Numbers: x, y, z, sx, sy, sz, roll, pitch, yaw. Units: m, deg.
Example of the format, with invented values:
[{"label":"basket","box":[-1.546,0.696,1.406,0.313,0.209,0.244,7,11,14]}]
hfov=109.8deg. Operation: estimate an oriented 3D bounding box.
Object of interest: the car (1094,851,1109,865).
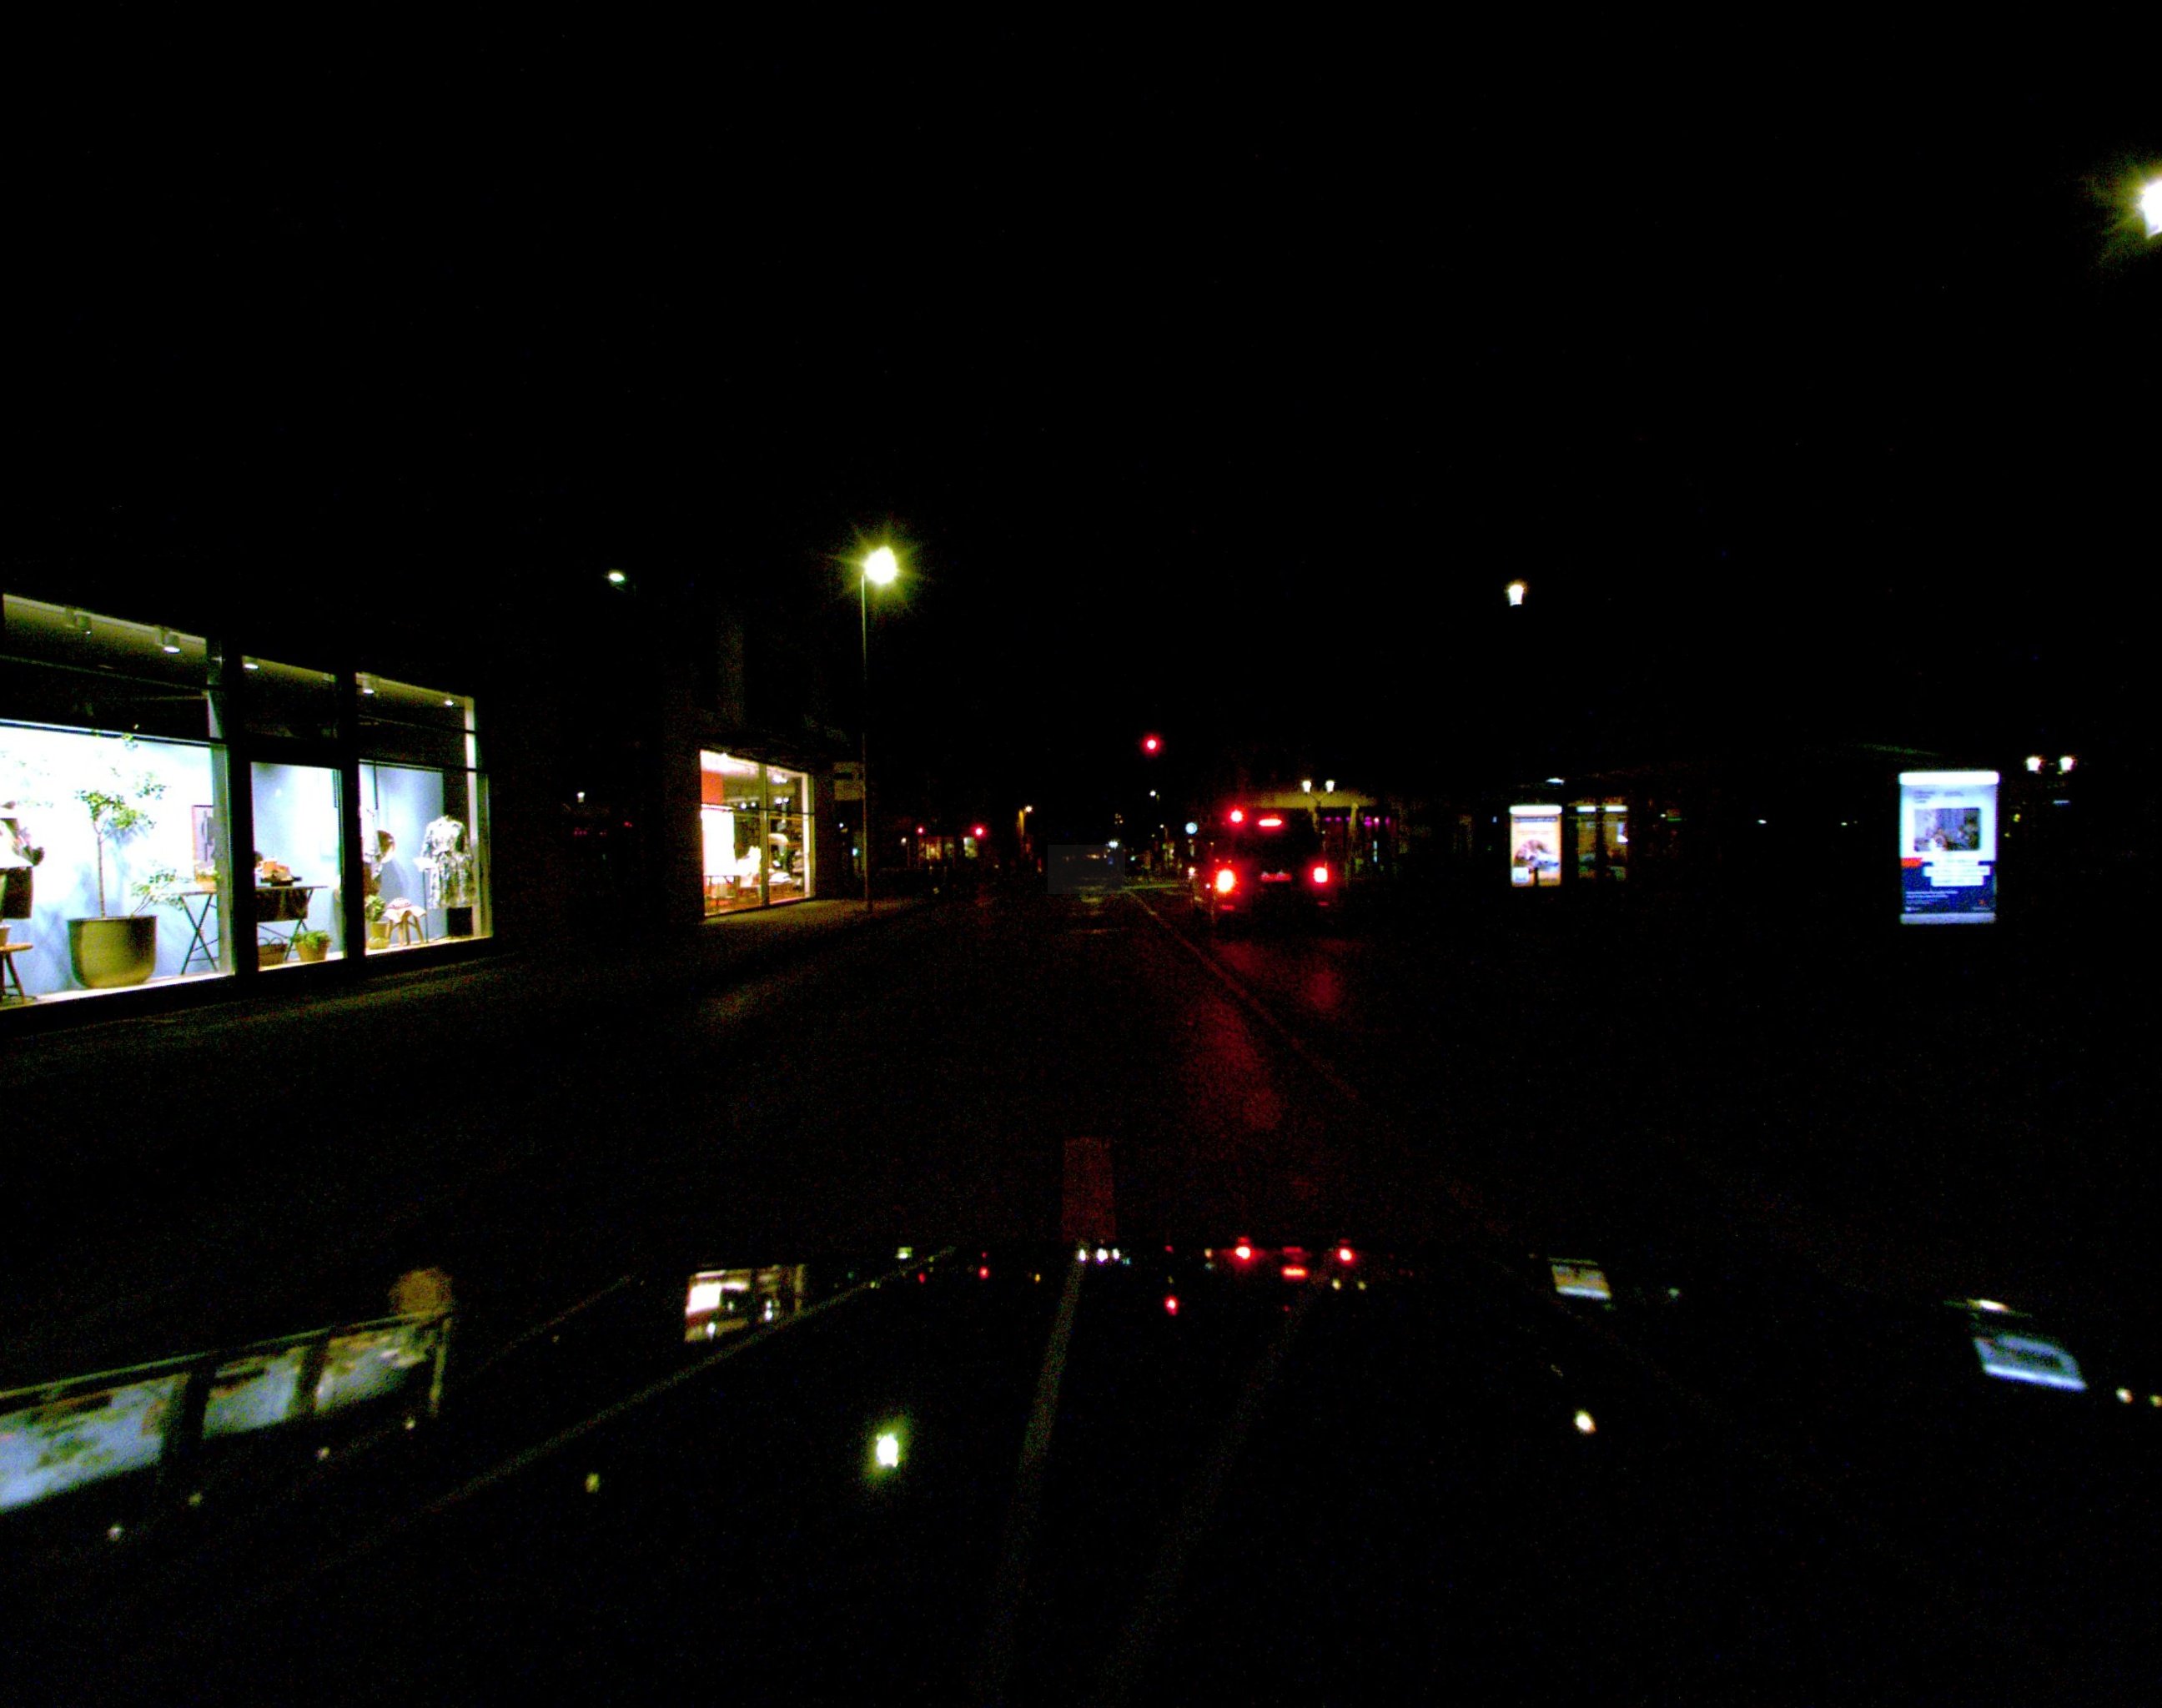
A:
[{"label":"car","box":[2.651,0.522,99.911,1.879,1.718,3.999,-2,1,1]}]

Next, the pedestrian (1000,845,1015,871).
[{"label":"pedestrian","box":[-4.828,0.278,50.158,0.877,1.723,0.647,0,1,4]}]

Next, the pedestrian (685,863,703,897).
[{"label":"pedestrian","box":[-19.889,1.319,39.043,0.524,1.707,0.566,-2,1,-2]}]

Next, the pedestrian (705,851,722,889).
[{"label":"pedestrian","box":[-16.756,0.716,34.653,0.407,1.677,0.487,-2,1,5]}]

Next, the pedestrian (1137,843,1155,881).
[{"label":"pedestrian","box":[2.899,0.367,33.850,0.539,1.672,0.648,-2,1,23]}]

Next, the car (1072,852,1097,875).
[{"label":"car","box":[0.277,0.700,60.193,1.713,1.660,3.738,-2,1,3]}]

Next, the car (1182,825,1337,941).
[{"label":"car","box":[3.224,0.442,14.805,1.971,1.861,4.912,-1,1,1]}]

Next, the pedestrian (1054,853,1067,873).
[{"label":"pedestrian","box":[-1.522,0.652,55.957,0.649,1.487,0.827,-1,2,-35]}]
